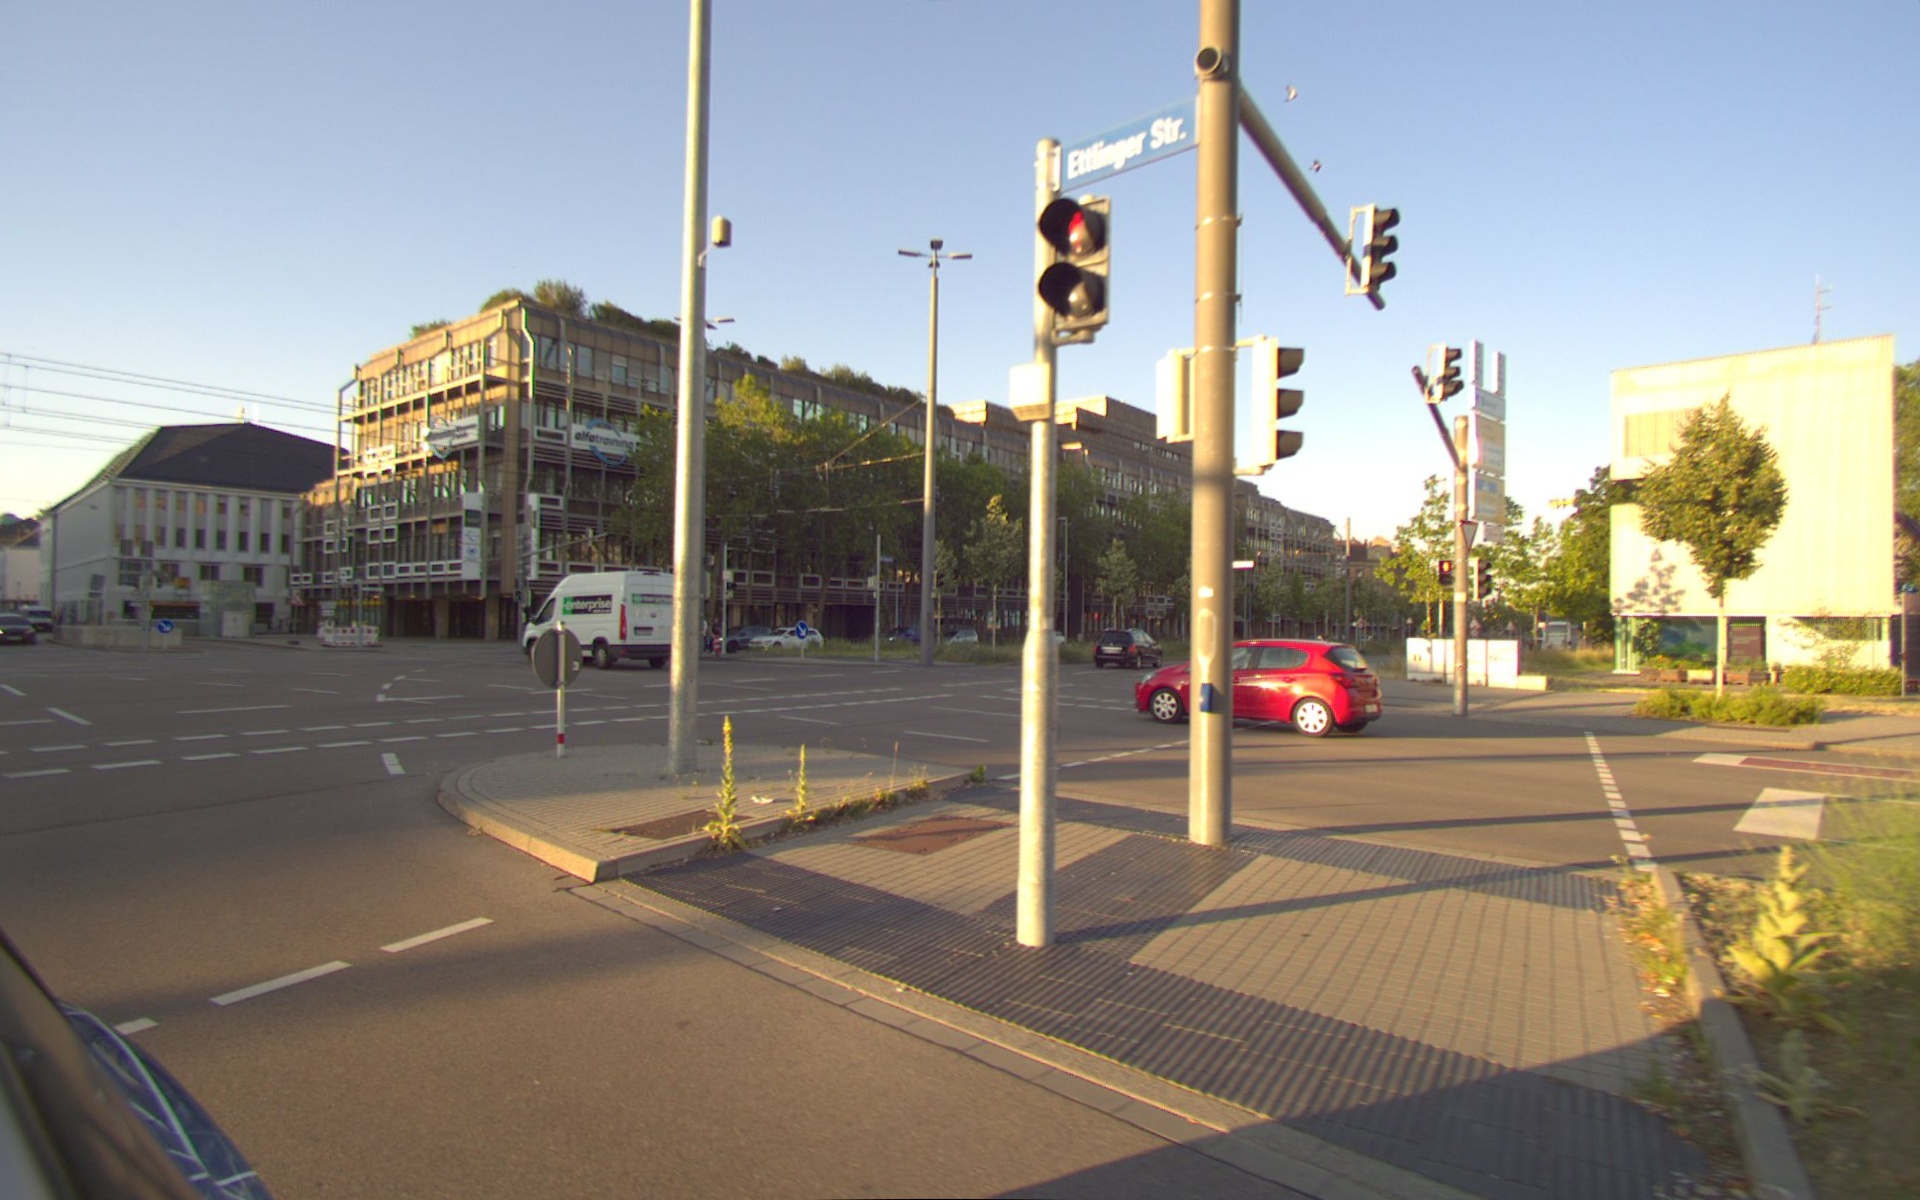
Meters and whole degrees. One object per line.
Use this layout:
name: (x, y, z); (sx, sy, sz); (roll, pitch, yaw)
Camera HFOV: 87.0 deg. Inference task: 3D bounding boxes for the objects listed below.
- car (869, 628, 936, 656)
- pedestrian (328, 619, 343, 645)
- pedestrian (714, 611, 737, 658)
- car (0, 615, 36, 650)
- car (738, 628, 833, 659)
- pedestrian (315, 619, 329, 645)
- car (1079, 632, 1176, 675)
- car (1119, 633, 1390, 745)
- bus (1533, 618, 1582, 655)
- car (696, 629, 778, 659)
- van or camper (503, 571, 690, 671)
car: (-3.618, 2.637, 63.838); (2.072, 1.663, 3.945); (-1, -2, 41)
pedestrian: (-41.893, 2.157, 67.890); (0.650, 1.726, 0.642); (-1, -3, 45)
pedestrian: (-9.758, 1.423, 42.093); (0.680, 1.946, 0.636); (0, -2, 40)
car: (-46.776, 1.554, 49.510); (4.001, 1.663, 2.043); (0, -2, 44)
car: (-9.699, 2.436, 56.625); (2.000, 1.597, 5.091); (-1, -2, 42)
pedestrian: (-42.437, 2.132, 67.321); (0.682, 1.726, 0.637); (-1, -3, 45)
car: (6.718, 2.097, 40.243); (2.069, 1.564, 4.424); (0, -2, 35)
car: (4.781, 1.380, 16.757); (3.998, 1.538, 1.618); (0, -2, 41)
bus: (63.827, 3.860, 108.001); (3.553, 3.743, 8.809); (0, -2, 37)
car: (-12.756, 2.509, 58.120); (1.857, 1.663, 4.341); (-1, -3, 41)
van or camper: (-10.856, 0.631, 29.978); (6.153, 2.686, 2.205); (-1, -3, 38)
